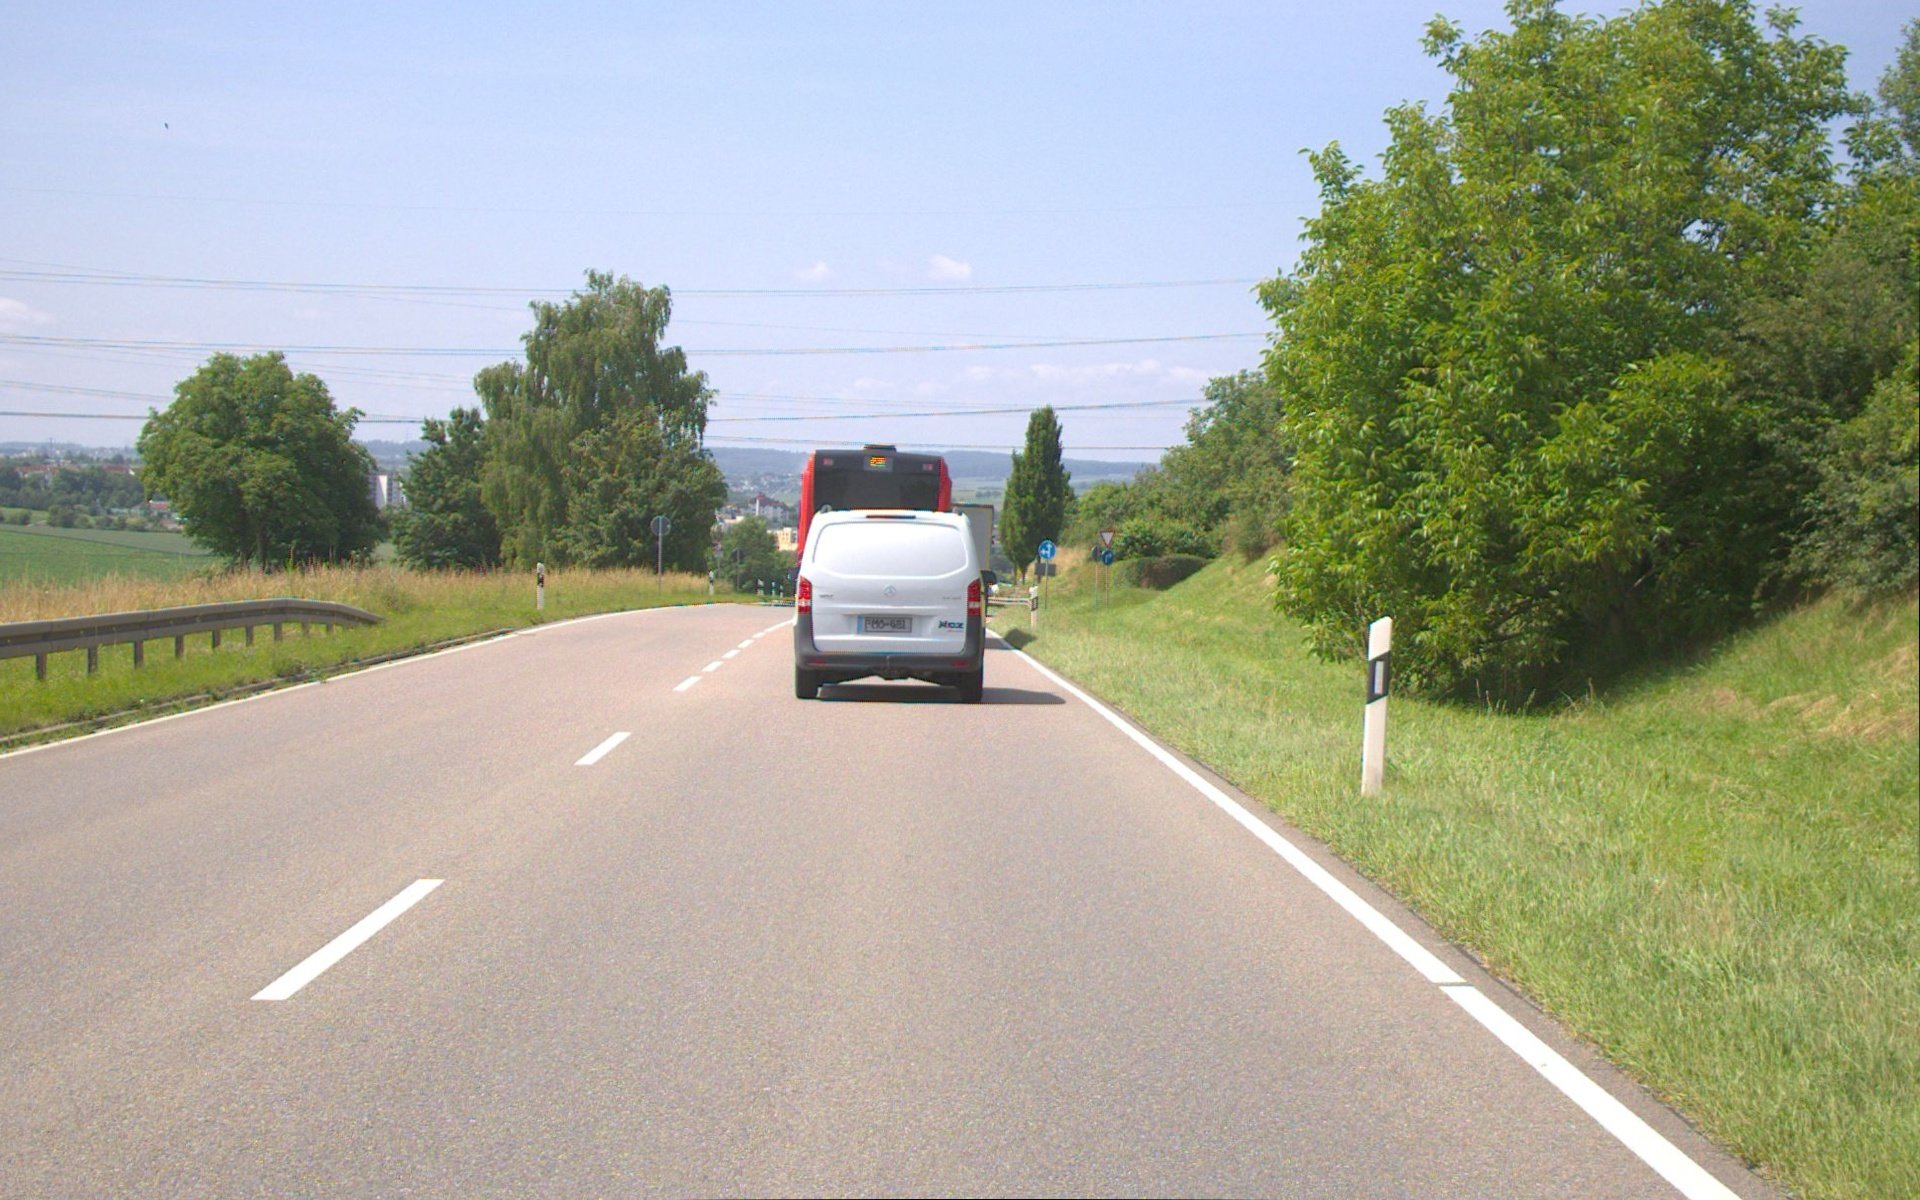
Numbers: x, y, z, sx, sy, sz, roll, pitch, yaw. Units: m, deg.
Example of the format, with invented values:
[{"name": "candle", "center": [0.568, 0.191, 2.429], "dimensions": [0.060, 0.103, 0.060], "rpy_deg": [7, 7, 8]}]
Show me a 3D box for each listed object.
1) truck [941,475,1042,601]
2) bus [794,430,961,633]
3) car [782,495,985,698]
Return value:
[{"name": "truck", "center": [1.073, -2.270, 129.412], "dimensions": [3.488, 4.408, 14.903], "rpy_deg": [1, 1, 0]}, {"name": "bus", "center": [-1.581, -1.346, 63.246], "dimensions": [2.747, 3.342, 13.224], "rpy_deg": [0, 2, -2]}, {"name": "car", "center": [-0.752, -0.094, 35.139], "dimensions": [1.923, 1.883, 4.001], "rpy_deg": [1, 2, 0]}]
